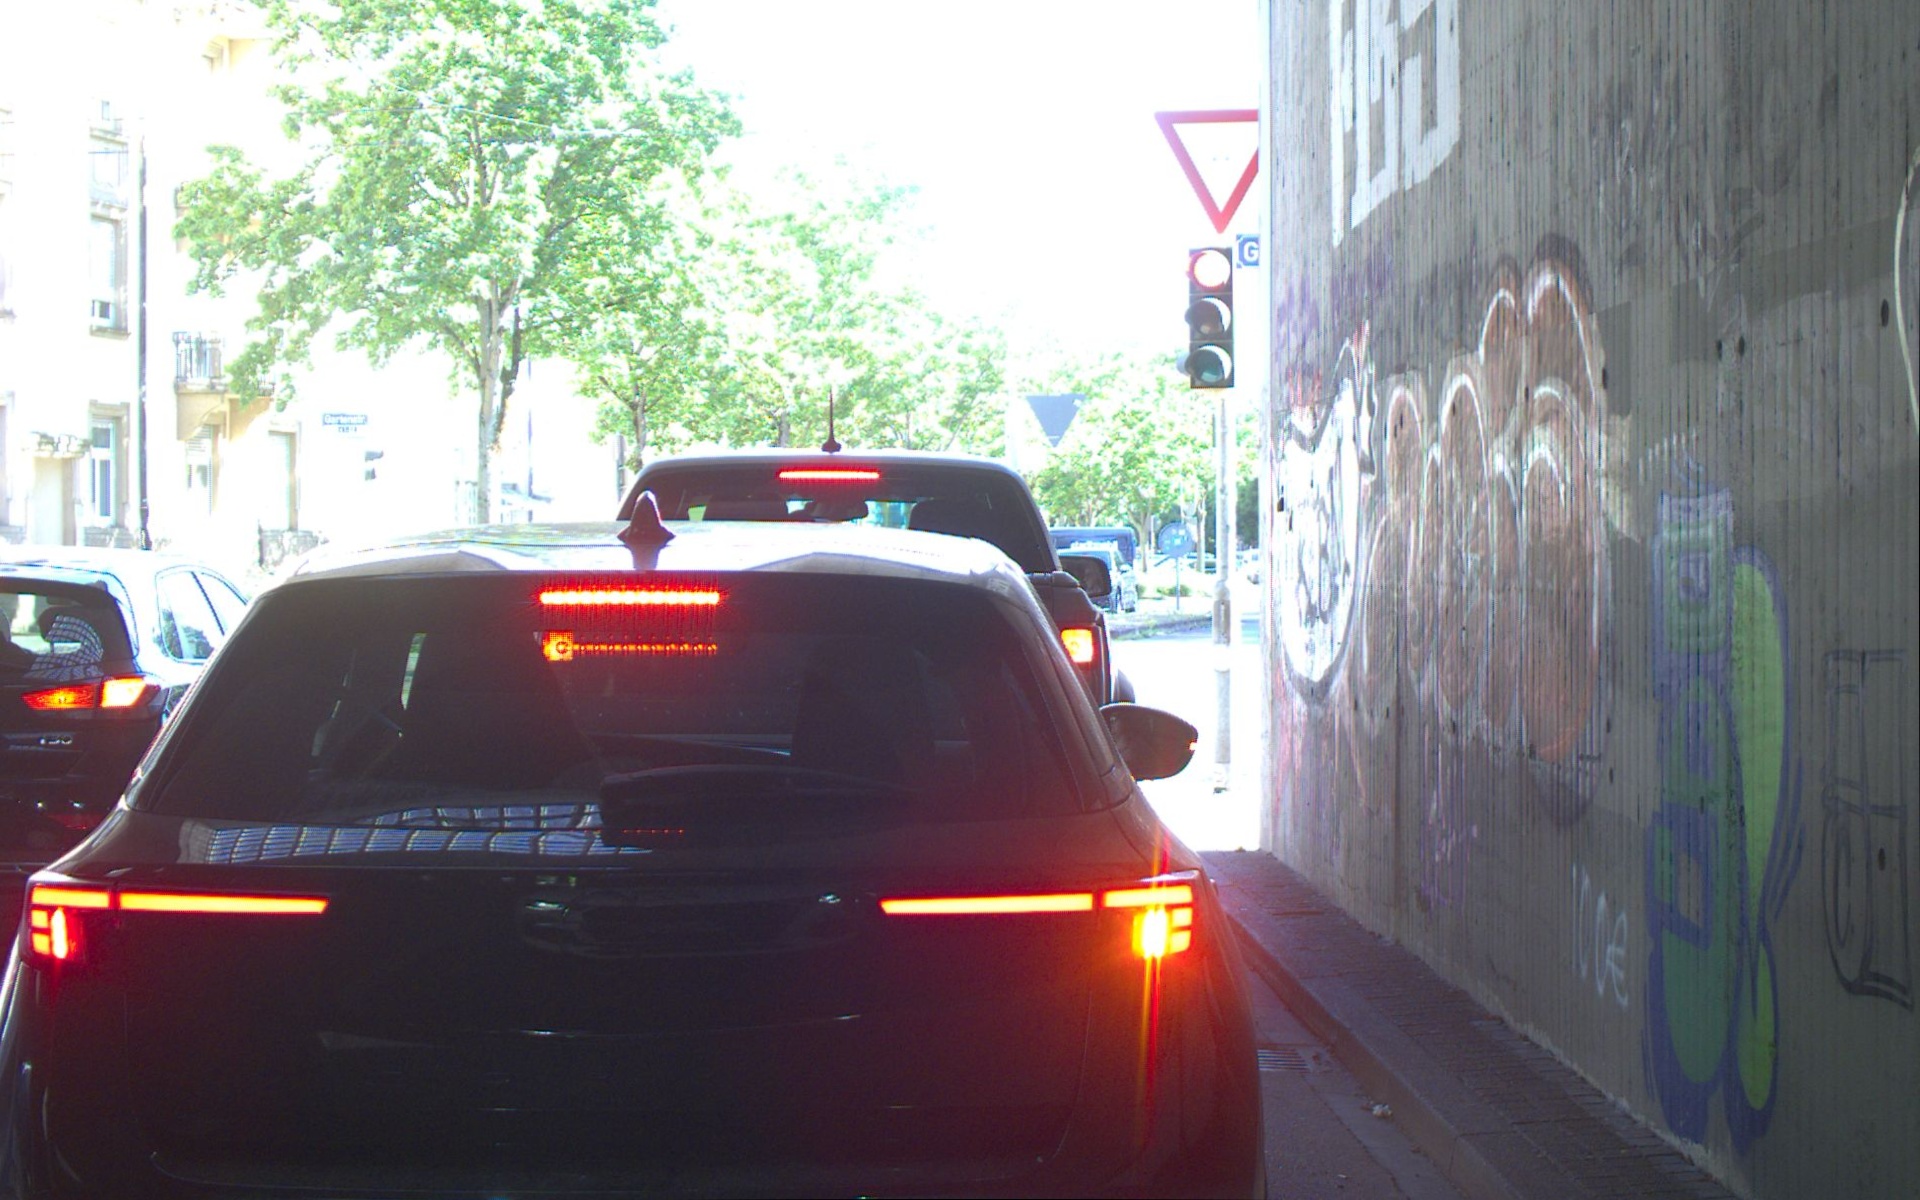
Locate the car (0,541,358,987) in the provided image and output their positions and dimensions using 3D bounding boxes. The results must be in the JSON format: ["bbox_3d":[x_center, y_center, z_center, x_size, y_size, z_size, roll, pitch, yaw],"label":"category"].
[{"bbox_3d":[-3.566,0.509,13.486,1.779,1.442,4.179,1,1,-2],"label":"car"}]

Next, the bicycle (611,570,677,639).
[{"bbox_3d":[-5.003,0.068,54.481,0.626,1.064,1.688,1,1,9],"label":"bicycle"}]

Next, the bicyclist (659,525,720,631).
[{"bbox_3d":[-4.092,-0.338,52.001,0.729,1.576,0.814,1,0,9],"label":"bicyclist"}]

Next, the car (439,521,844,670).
[{"bbox_3d":[-3.400,-0.065,37.125,3.988,1.546,1.999,0,1,9],"label":"car"}]

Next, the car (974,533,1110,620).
[{"bbox_3d":[1.515,-0.398,62.178,1.969,1.492,3.895,0,-1,9],"label":"car"}]

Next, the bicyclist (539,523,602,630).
[{"bbox_3d":[-5.833,-0.356,51.525,0.729,1.576,0.814,1,0,9],"label":"bicyclist"}]

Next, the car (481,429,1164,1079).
[{"bbox_3d":[-0.415,0.407,11.874,1.945,1.853,3.964,-1,1,-1],"label":"car"}]

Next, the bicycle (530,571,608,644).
[{"bbox_3d":[-5.850,0.100,51.499,0.732,1.064,1.688,1,1,9],"label":"bicycle"}]

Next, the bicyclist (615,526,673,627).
[{"bbox_3d":[-4.999,-0.374,54.426,0.729,1.576,0.814,1,0,9],"label":"bicyclist"}]

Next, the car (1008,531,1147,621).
[{"bbox_3d":[2.402,-0.456,68.987,2.221,1.713,4.458,0,-1,10],"label":"car"}]

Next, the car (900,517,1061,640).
[{"bbox_3d":[0.303,-0.243,44.156,1.968,1.492,3.896,0,-1,1],"label":"car"}]

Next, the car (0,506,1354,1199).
[{"bbox_3d":[-0.496,0.625,6.053,1.882,1.532,3.964,-1,1,-1],"label":"car"}]
